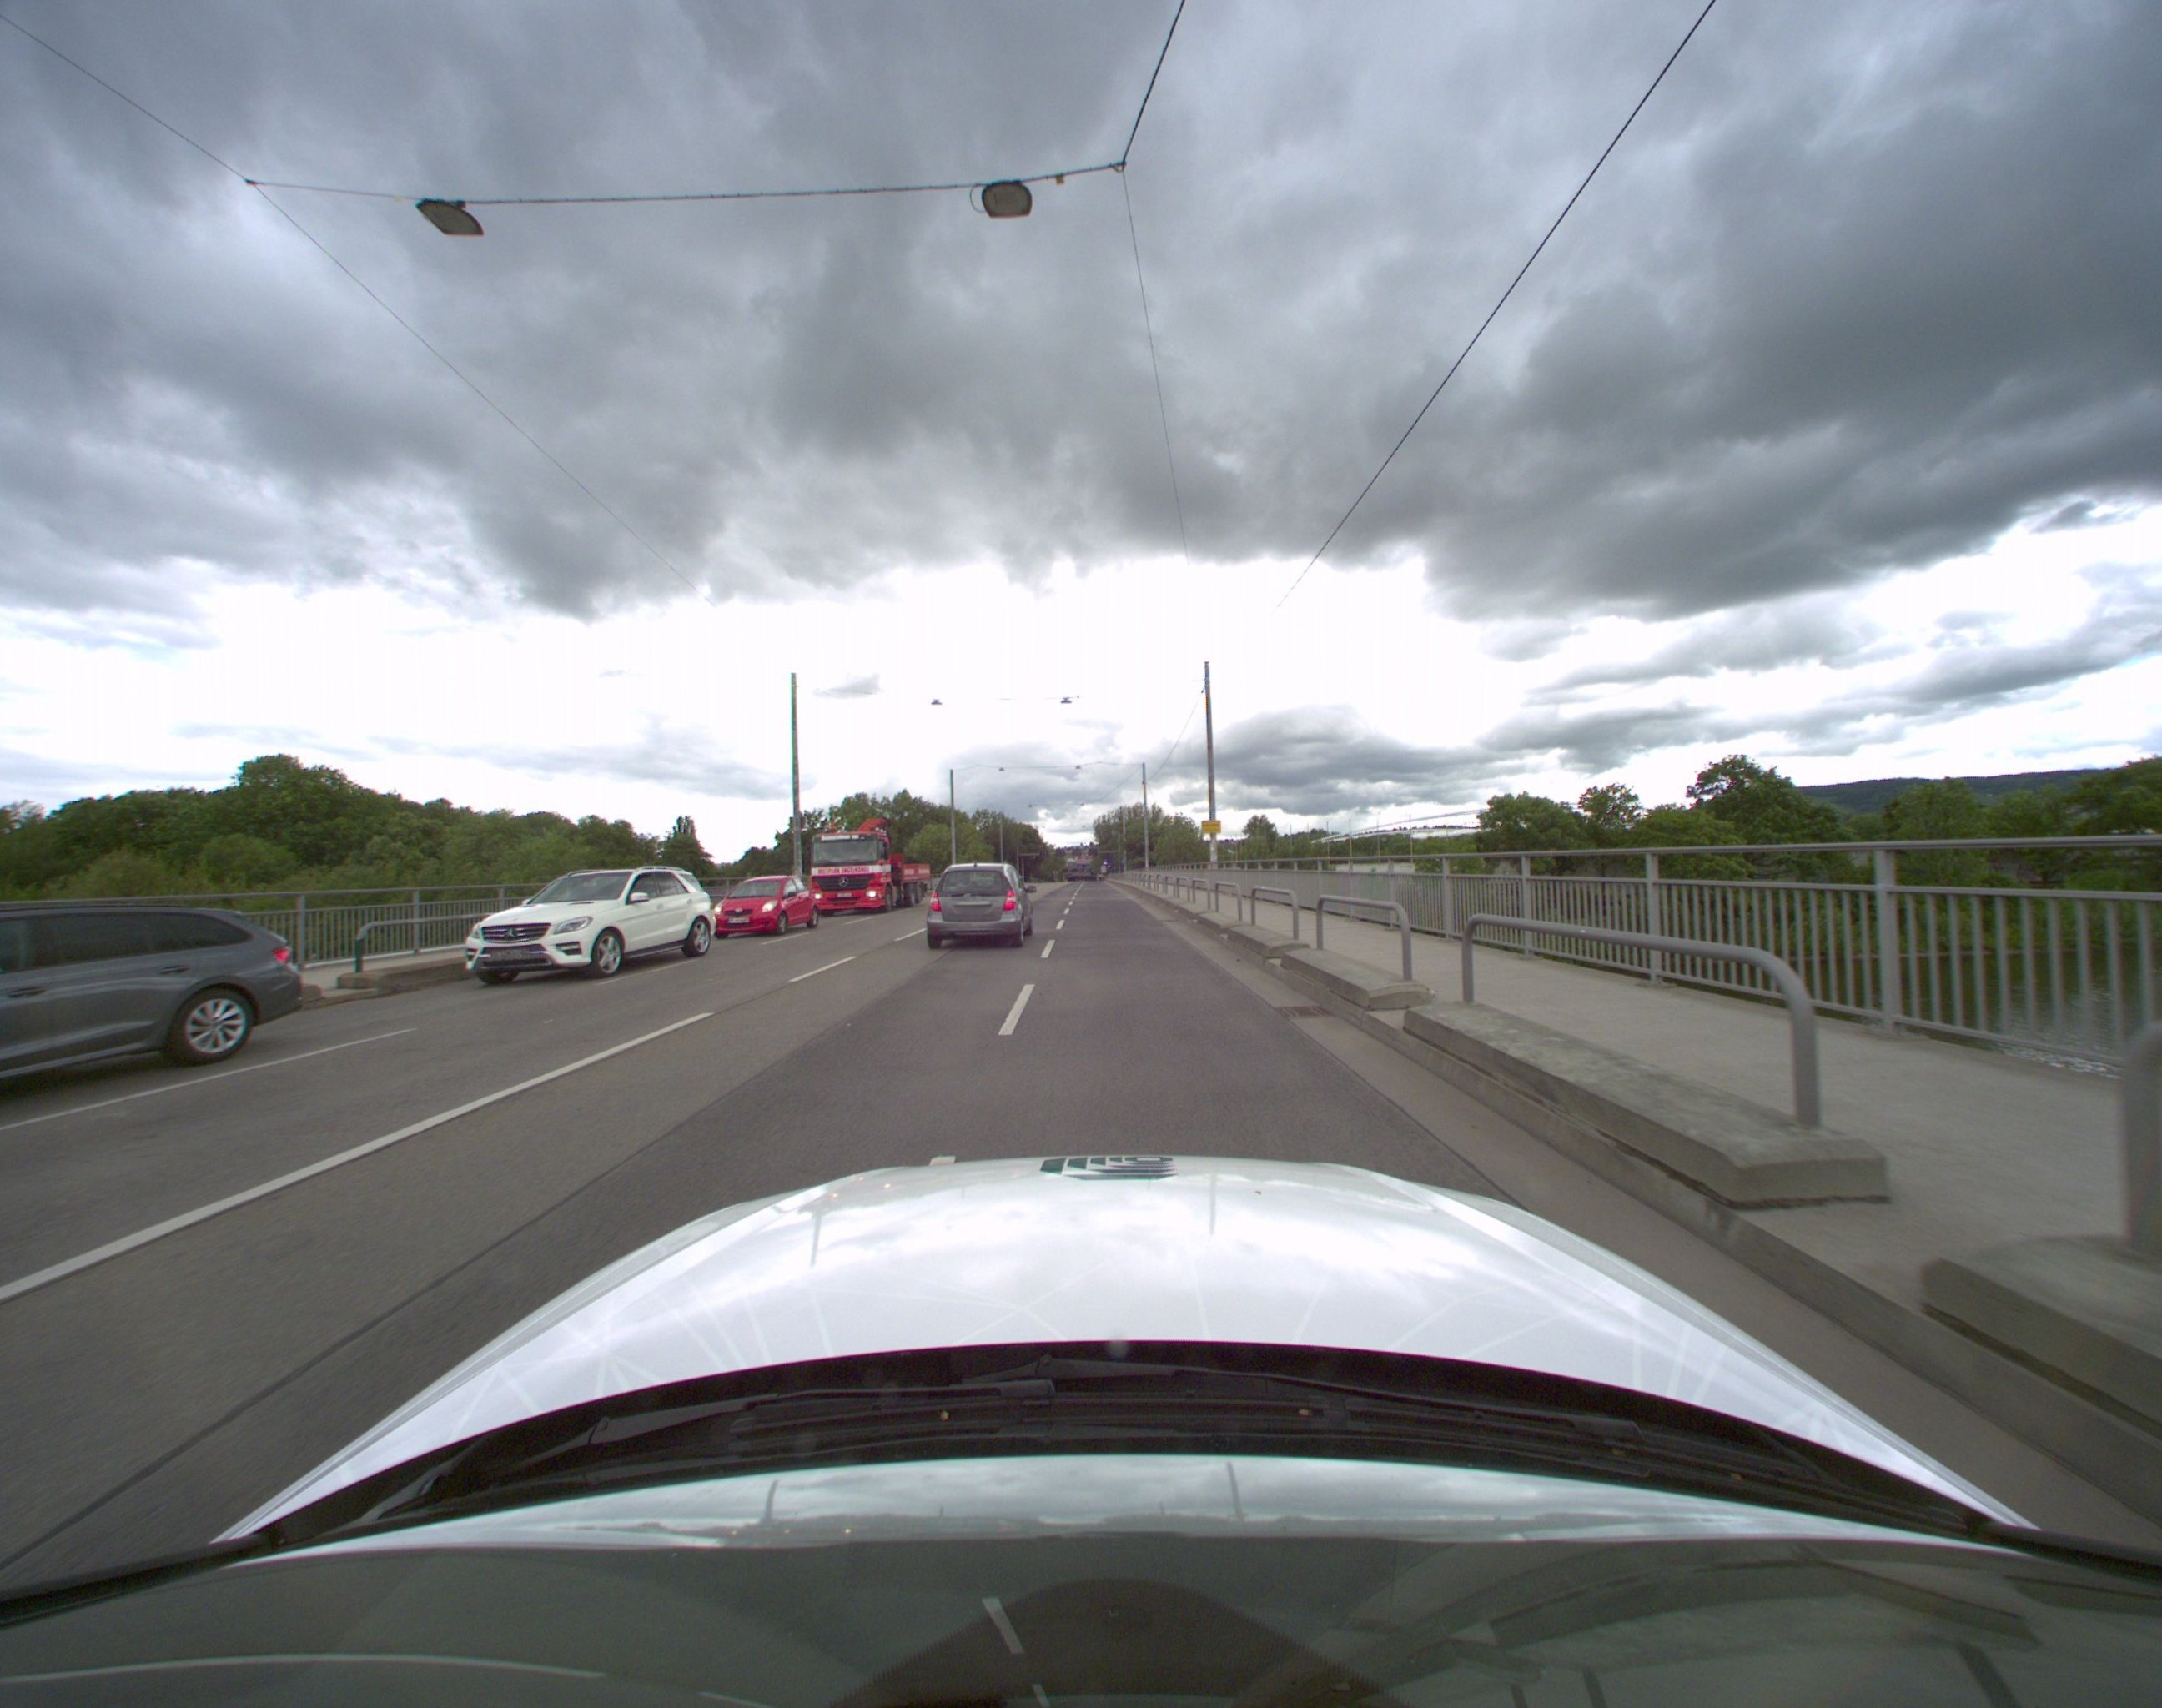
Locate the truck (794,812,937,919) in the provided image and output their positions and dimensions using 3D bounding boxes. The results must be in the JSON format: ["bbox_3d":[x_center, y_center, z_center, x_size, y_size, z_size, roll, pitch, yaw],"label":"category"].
[{"bbox_3d":[-8.401,0.558,33.407,2.996,3.566,9.980,-3,-2,0],"label":"truck"}]

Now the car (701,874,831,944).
[{"bbox_3d":[-8.349,1.409,21.996,1.874,1.603,4.014,-3,-2,0],"label":"car"}]

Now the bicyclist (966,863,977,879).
[{"bbox_3d":[-12.516,1.896,93.137,1.130,1.765,0.904,-2,-3,-5],"label":"bicyclist"}]

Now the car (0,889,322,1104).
[{"bbox_3d":[-8.665,1.088,6.006,1.829,1.504,4.516,-3,-2,0],"label":"car"}]

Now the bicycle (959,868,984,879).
[{"bbox_3d":[-12.516,2.231,93.118,2.786,1.051,0.919,-2,-3,-5],"label":"bicycle"}]

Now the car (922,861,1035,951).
[{"bbox_3d":[-1.932,0.983,16.394,1.739,1.551,3.870,-1,-2,0],"label":"car"}]

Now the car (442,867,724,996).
[{"bbox_3d":[-8.268,1.195,14.188,1.874,1.761,4.801,-3,-2,0],"label":"car"}]
